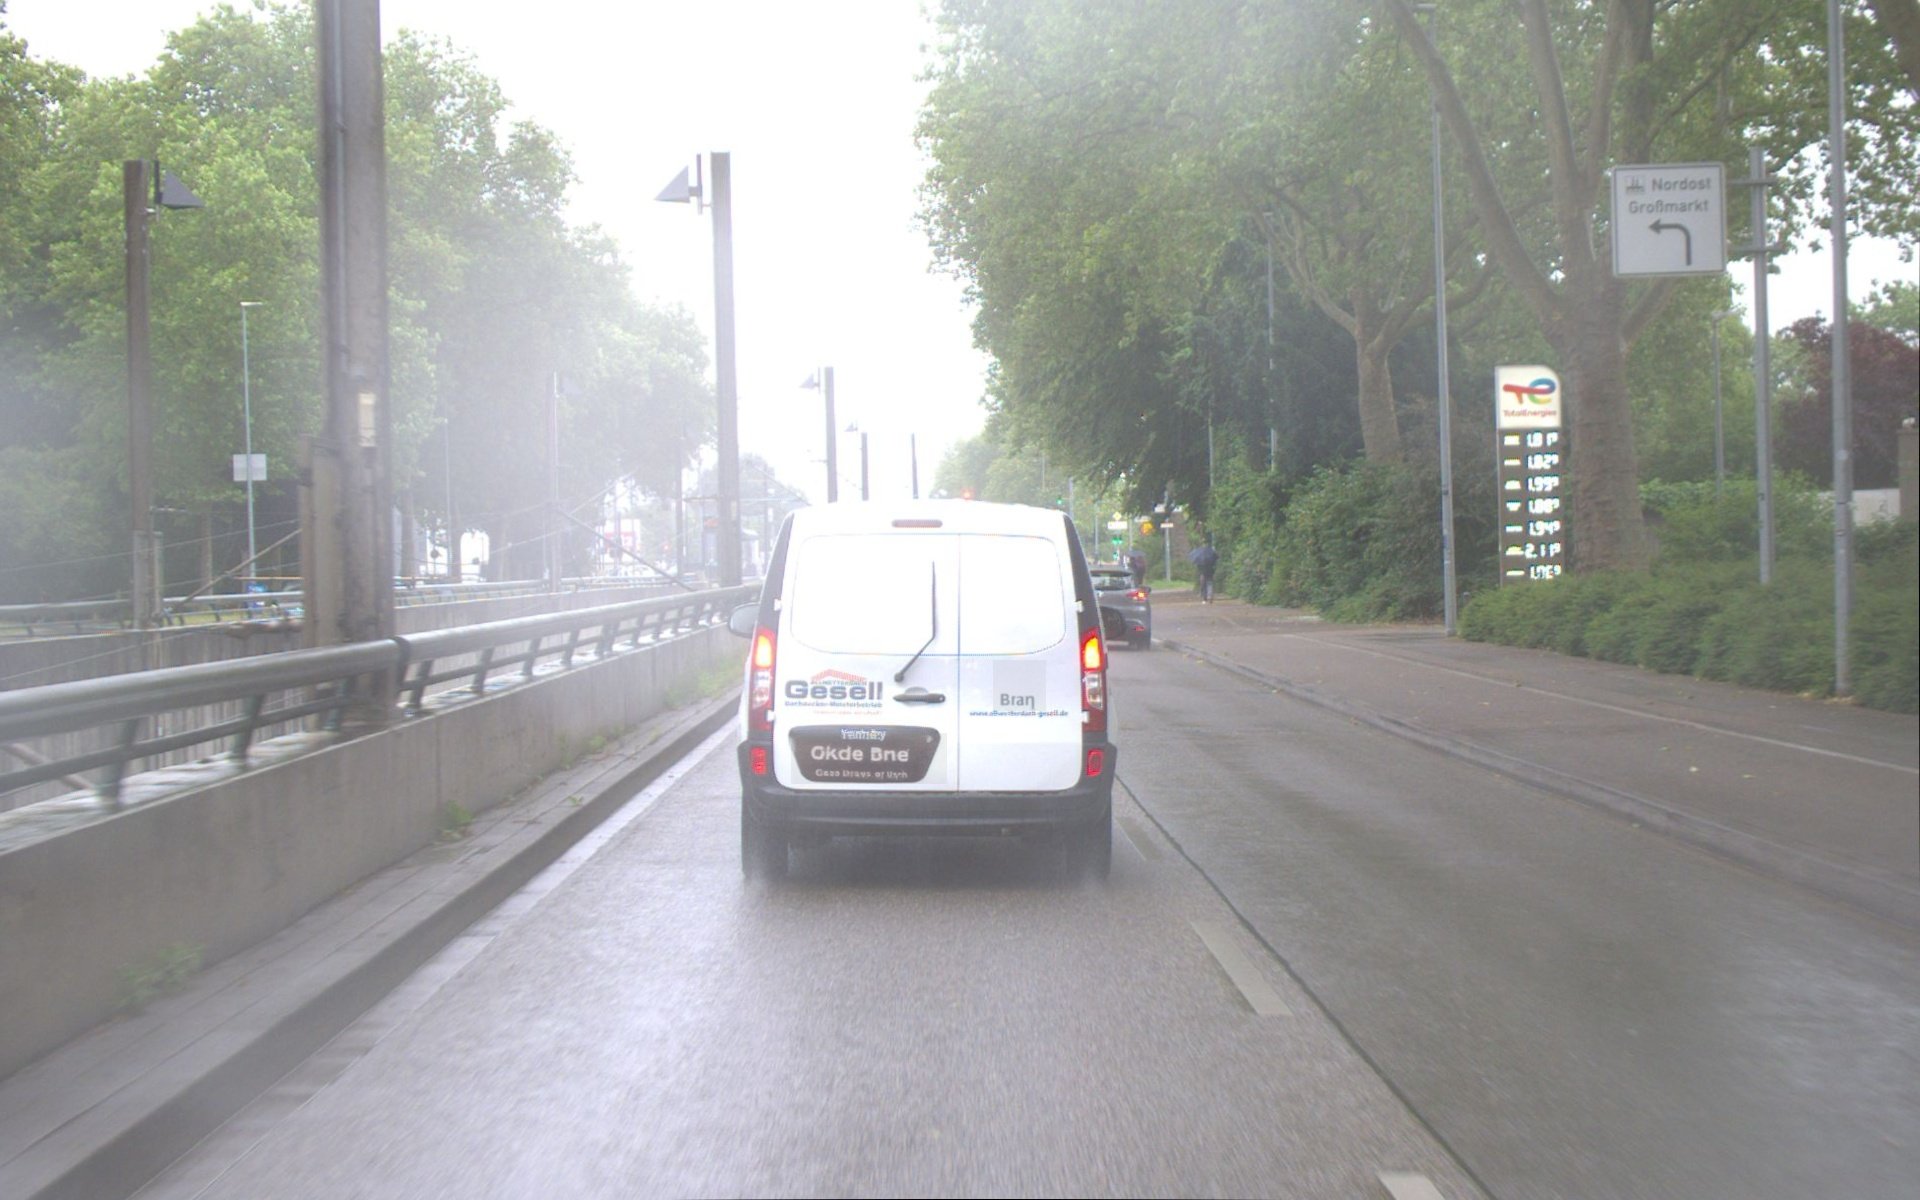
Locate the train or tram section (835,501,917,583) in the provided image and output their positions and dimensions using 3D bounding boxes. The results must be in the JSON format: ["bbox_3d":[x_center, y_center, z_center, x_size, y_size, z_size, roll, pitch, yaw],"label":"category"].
[{"bbox_3d":[-4.347,-3.033,185.587,3.770,4.023,27.094,1,1,0],"label":"train or tram section"}]

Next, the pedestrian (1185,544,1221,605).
[{"bbox_3d":[6.862,-0.725,97.103,0.967,1.696,1.141,0,0,1],"label":"pedestrian"}]

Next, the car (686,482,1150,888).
[{"bbox_3d":[-0.210,0.354,17.331,2.025,1.769,4.274,1,1,-1],"label":"car"}]

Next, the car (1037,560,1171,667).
[{"bbox_3d":[2.411,0.205,58.567,1.993,1.744,4.000,1,1,-1],"label":"car"}]

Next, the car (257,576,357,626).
[{"bbox_3d":[-19.534,0.014,102.982,1.994,1.399,3.793,-1,1,4],"label":"car"}]
